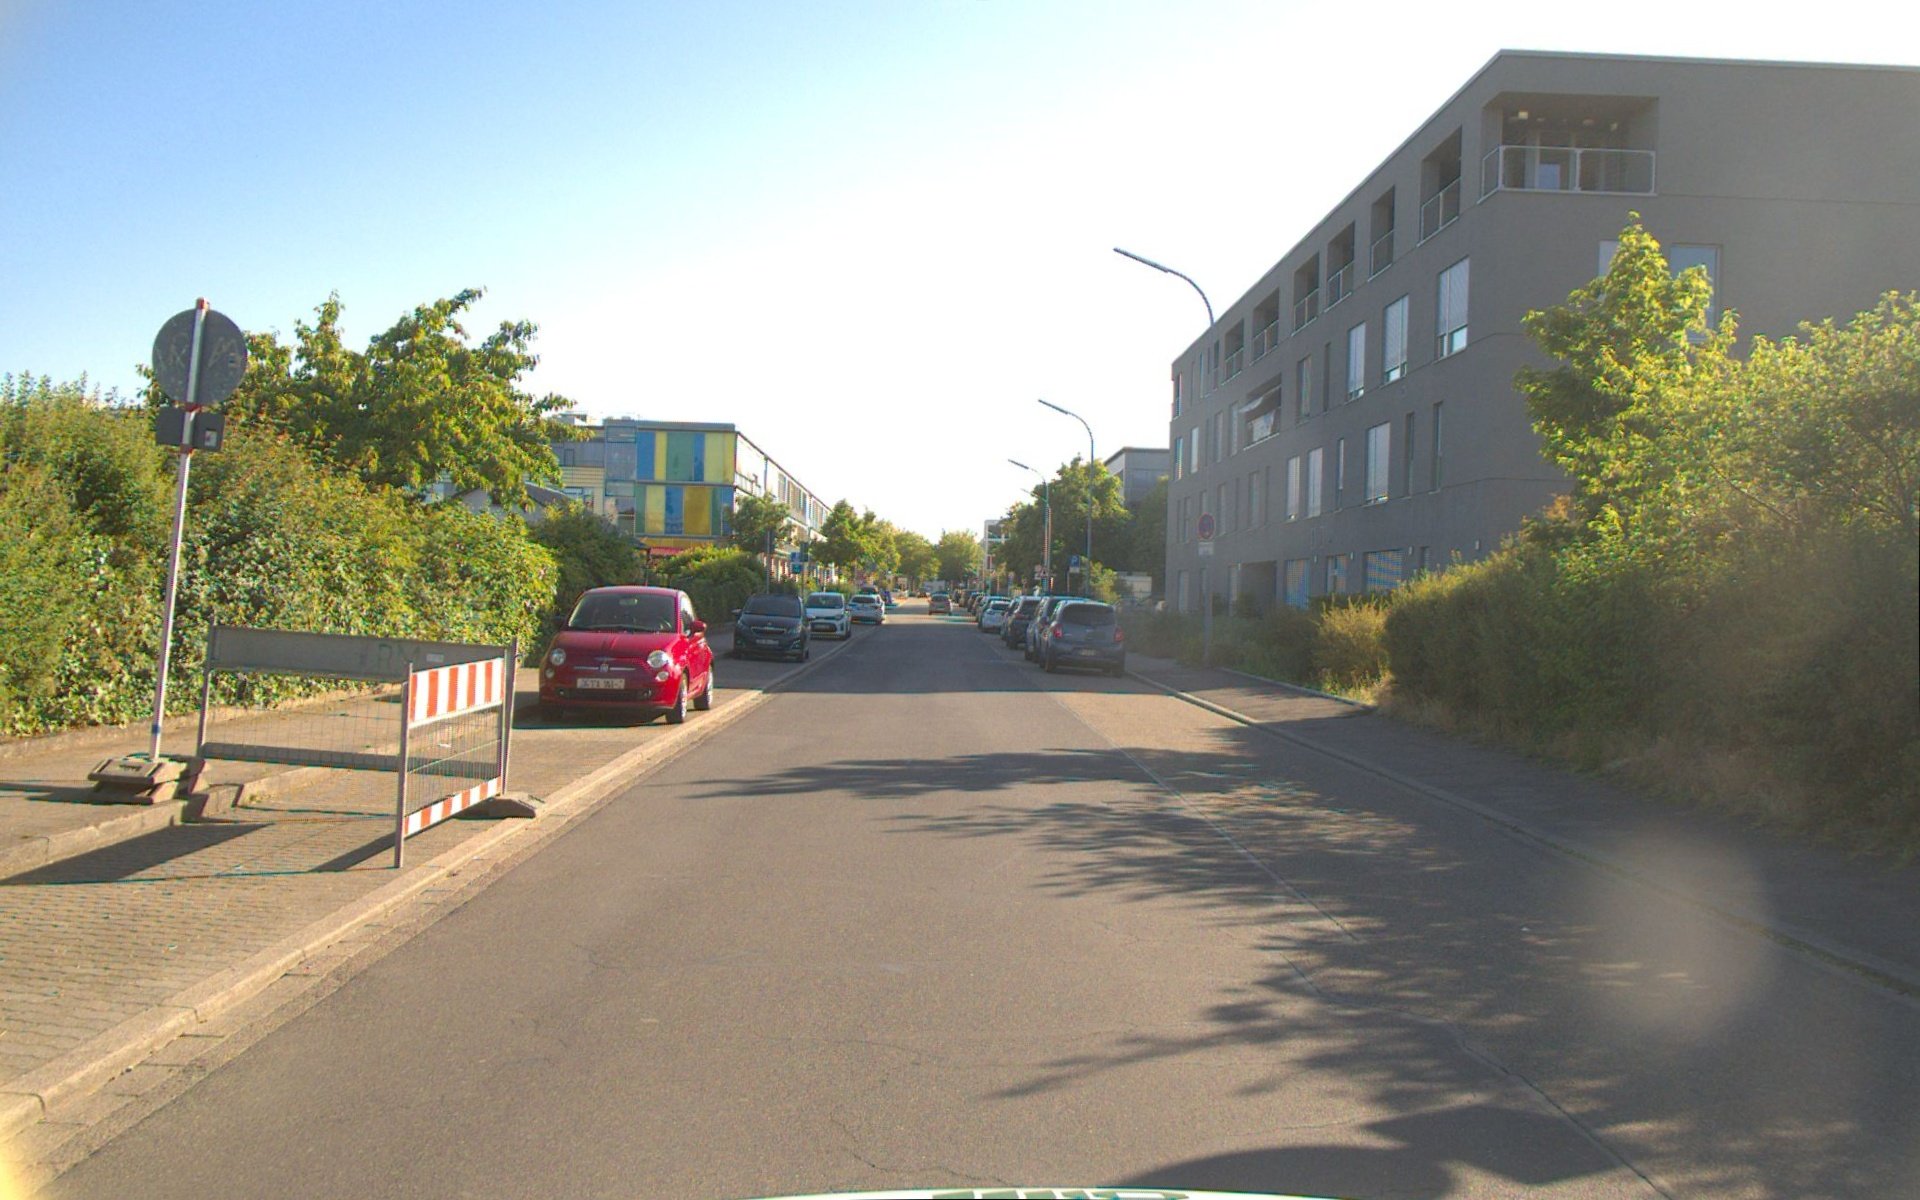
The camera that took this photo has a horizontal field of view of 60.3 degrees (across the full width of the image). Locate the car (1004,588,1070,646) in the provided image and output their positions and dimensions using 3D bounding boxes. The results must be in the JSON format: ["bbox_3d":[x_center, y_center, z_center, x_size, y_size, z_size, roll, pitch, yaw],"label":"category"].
[{"bbox_3d":[2.338,0.498,51.293,1.706,1.653,4.178,3,0,-1],"label":"car"}]

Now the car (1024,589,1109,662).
[{"bbox_3d":[2.602,0.587,41.160,1.643,1.636,4.177,4,0,-2],"label":"car"}]

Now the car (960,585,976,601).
[{"bbox_3d":[0.796,-0.757,171.251,1.416,1.576,3.613,3,0,-2],"label":"car"}]

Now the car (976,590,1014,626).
[{"bbox_3d":[1.707,0.375,81.229,1.600,1.658,3.613,3,0,-2],"label":"car"}]

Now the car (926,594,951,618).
[{"bbox_3d":[-1.565,0.414,118.338,1.655,1.576,3.613,3,0,-2],"label":"car"}]

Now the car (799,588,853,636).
[{"bbox_3d":[-4.389,0.380,54.651,1.528,1.521,3.757,1,0,-1],"label":"car"}]

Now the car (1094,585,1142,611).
[{"bbox_3d":[10.856,-0.126,114.080,3.149,1.576,1.450,3,0,2],"label":"car"}]

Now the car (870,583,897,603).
[{"bbox_3d":[-6.610,-0.610,143.289,1.816,1.590,4.136,3,0,4],"label":"car"}]

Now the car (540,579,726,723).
[{"bbox_3d":[-3.751,0.539,19.486,1.528,1.521,3.569,1,0,-1],"label":"car"}]

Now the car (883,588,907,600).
[{"bbox_3d":[-10.134,-0.941,258.465,3.533,1.576,1.448,3,0,-6],"label":"car"}]

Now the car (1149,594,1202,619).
[{"bbox_3d":[13.834,0.410,106.174,3.149,1.486,1.450,3,0,2],"label":"car"}]

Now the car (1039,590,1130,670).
[{"bbox_3d":[2.660,0.613,36.066,1.589,1.553,3.901,4,0,0],"label":"car"}]

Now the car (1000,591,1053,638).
[{"bbox_3d":[2.394,0.507,60.290,1.624,1.578,3.849,3,0,-1],"label":"car"}]

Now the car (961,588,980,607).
[{"bbox_3d":[0.913,-0.220,145.843,1.416,1.576,3.613,3,0,-2],"label":"car"}]

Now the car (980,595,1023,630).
[{"bbox_3d":[1.869,0.546,75.223,1.706,1.453,4.133,3,0,-1],"label":"car"}]

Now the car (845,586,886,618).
[{"bbox_3d":[-4.764,0.096,83.892,1.817,1.453,4.133,3,0,-1],"label":"car"}]

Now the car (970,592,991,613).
[{"bbox_3d":[1.610,0.164,129.855,1.416,1.576,3.613,3,0,-2],"label":"car"}]

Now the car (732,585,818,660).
[{"bbox_3d":[-4.153,0.487,37.610,1.528,1.520,3.569,4,0,-1],"label":"car"}]
